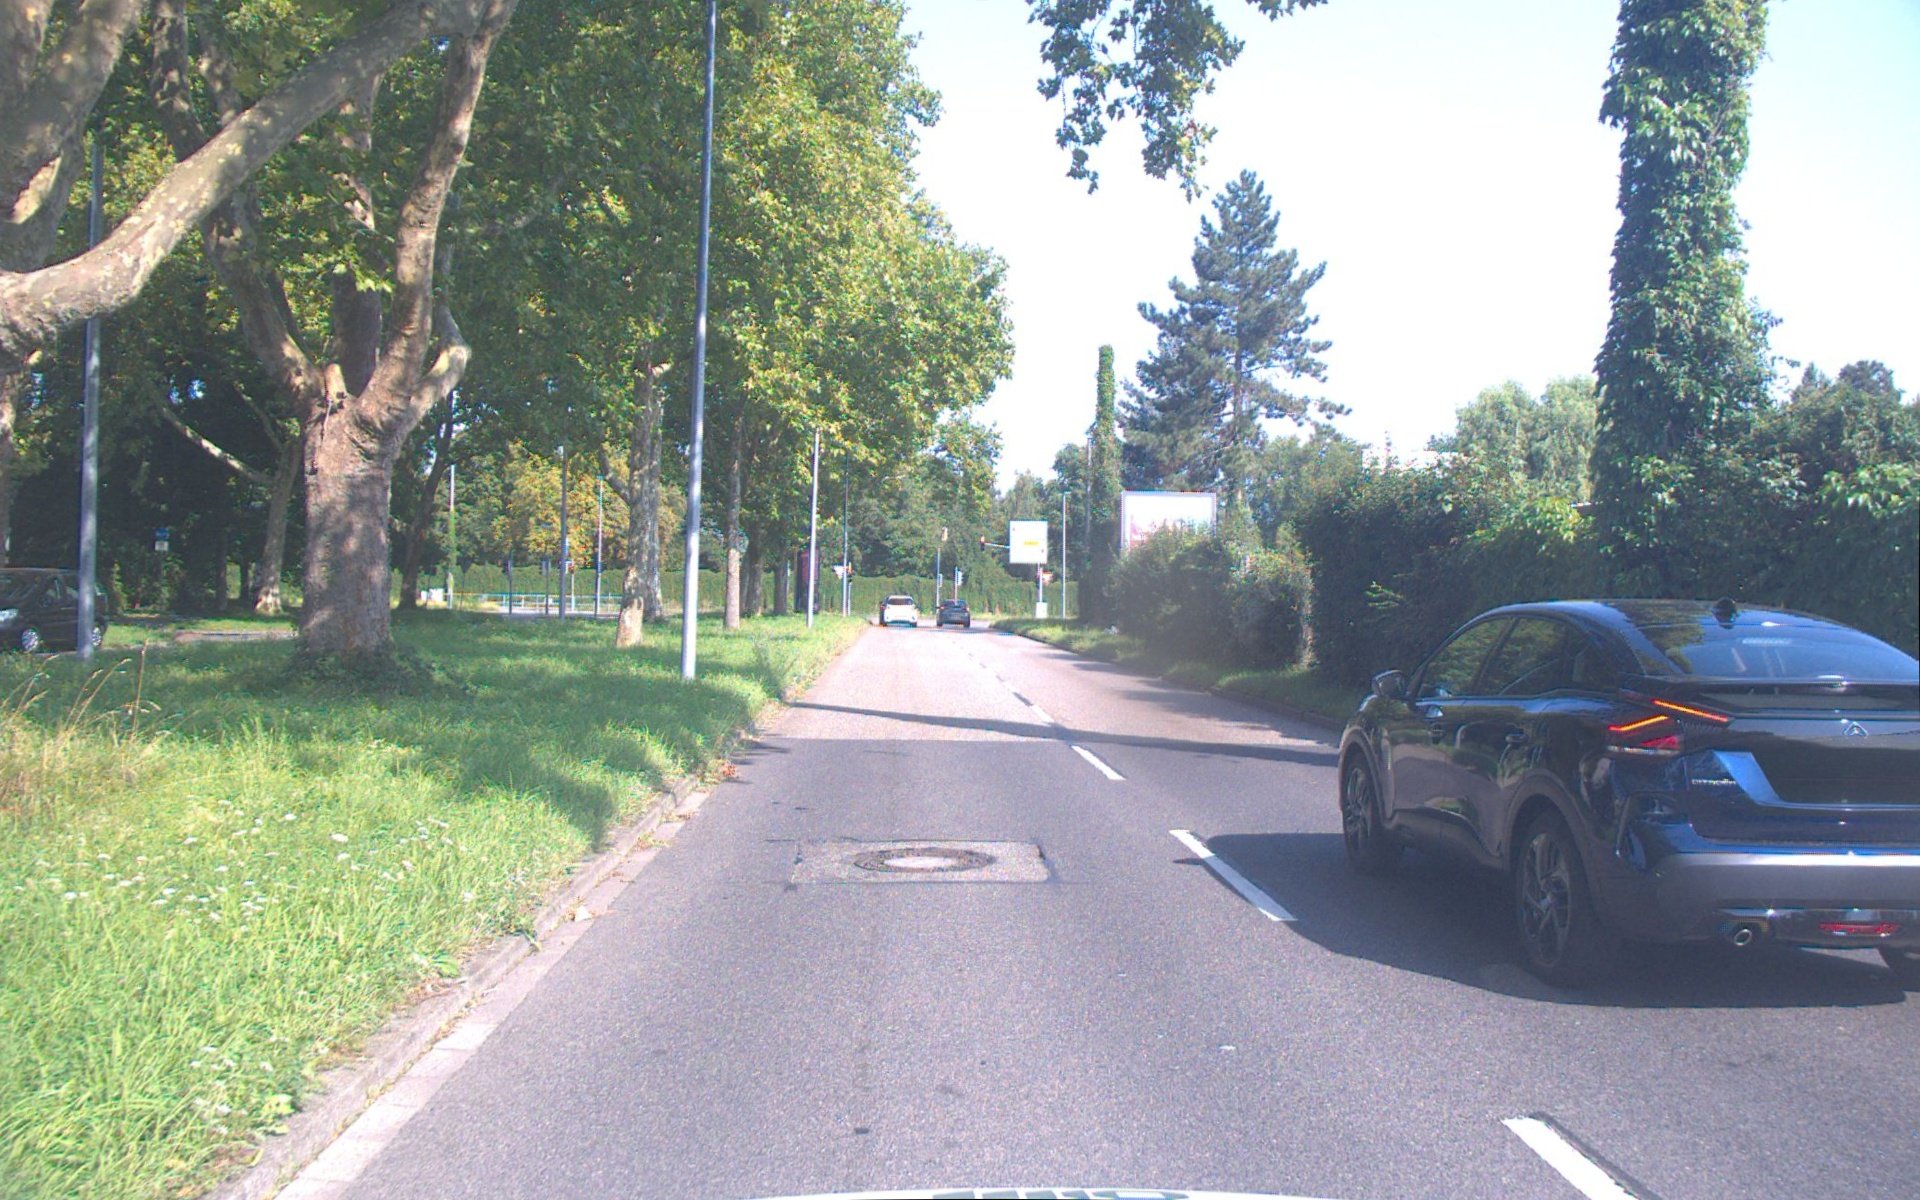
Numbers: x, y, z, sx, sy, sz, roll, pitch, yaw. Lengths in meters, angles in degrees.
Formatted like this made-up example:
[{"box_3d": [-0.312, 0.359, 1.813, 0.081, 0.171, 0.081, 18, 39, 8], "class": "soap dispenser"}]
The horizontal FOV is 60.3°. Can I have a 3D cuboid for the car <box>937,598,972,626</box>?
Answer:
[{"box_3d": [-0.317, 0.663, 90.516, 1.762, 1.426, 3.998, 1, 0, -3], "class": "car"}]

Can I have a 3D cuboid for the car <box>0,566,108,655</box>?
[{"box_3d": [-20.006, 0.205, 34.950, 1.665, 1.762, 4.658, 1, 0, -2], "class": "car"}]

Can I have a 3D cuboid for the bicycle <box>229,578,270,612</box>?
[{"box_3d": [-26.751, -0.186, 62.313, 0.533, 1.220, 2.758, 1, 0, -5], "class": "bicycle"}]

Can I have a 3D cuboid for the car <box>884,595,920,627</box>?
[{"box_3d": [-2.835, 0.530, 81.698, 1.653, 1.487, 3.999, 1, 0, -1], "class": "car"}]

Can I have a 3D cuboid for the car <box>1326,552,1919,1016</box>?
[{"box_3d": [3.109, 0.660, 7.925, 1.612, 1.616, 4.252, 0, -1, -3], "class": "car"}]

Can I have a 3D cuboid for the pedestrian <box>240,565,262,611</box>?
[{"box_3d": [-26.755, -0.435, 62.449, 0.532, 1.720, 0.657, 1, -1, -5], "class": "pedestrian"}]
